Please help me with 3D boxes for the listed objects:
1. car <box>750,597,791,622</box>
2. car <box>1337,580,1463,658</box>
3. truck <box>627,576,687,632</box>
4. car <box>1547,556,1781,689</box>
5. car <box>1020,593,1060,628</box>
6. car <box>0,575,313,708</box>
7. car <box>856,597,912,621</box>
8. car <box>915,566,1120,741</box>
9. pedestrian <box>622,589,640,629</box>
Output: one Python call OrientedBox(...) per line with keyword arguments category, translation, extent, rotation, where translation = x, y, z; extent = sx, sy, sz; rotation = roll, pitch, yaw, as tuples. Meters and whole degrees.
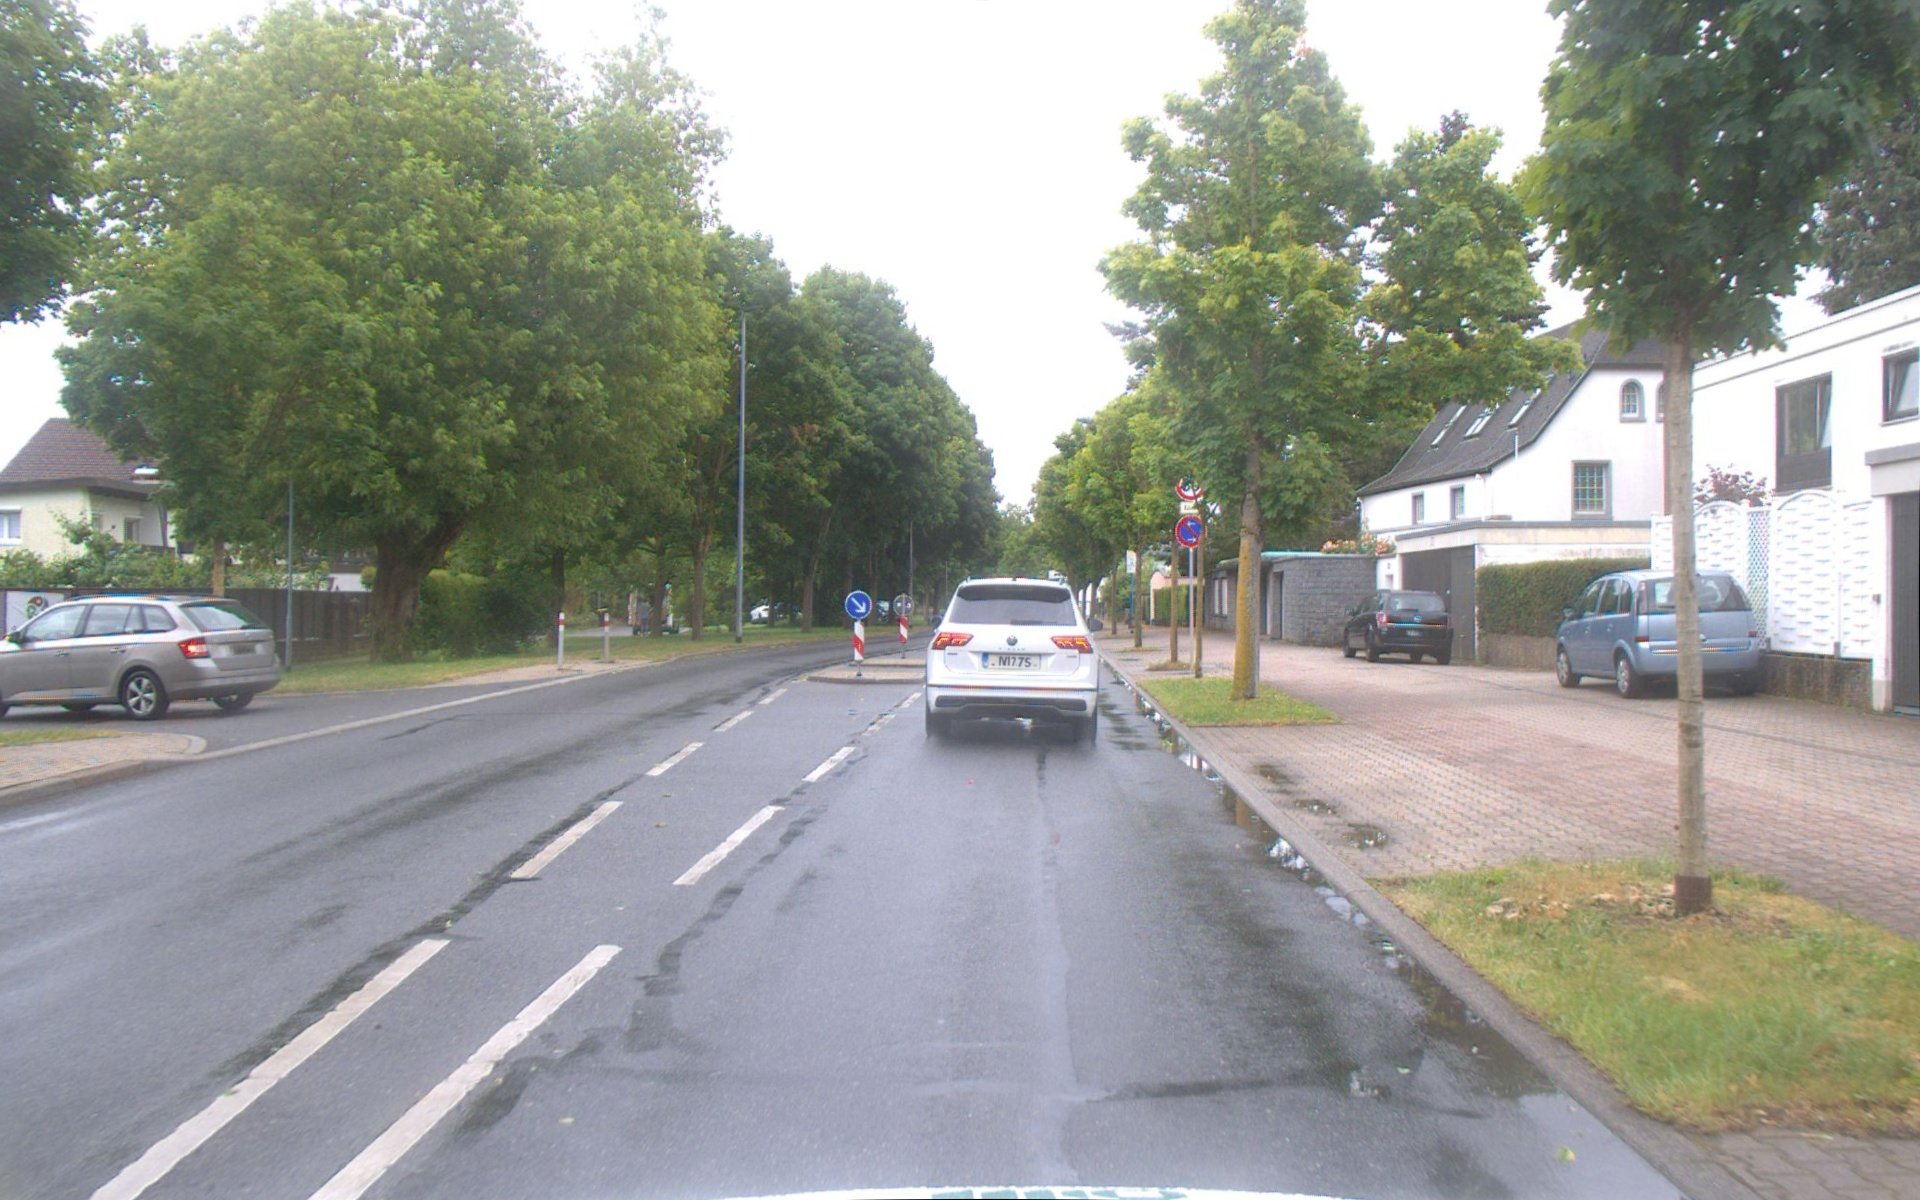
OrientedBox(category="car", translation=(-11.583, 0.574, 100.874), extent=(1.812, 1.508, 3.981), rotation=(0, 0, -17))
OrientedBox(category="car", translation=(9.284, 0.375, 35.231), extent=(1.734, 1.524, 4.546), rotation=(-1, 0, 4))
OrientedBox(category="truck", translation=(-14.999, 0.195, 82.110), extent=(2.239, 2.642, 5.870), rotation=(0, 0, -3))
OrientedBox(category="car", translation=(9.478, 0.281, 22.603), extent=(1.707, 1.639, 4.002), rotation=(-1, 0, 4))
OrientedBox(category="car", translation=(3.819, 0.487, 79.278), extent=(1.802, 1.513, 4.001), rotation=(3, 0, 3))
OrientedBox(category="car", translation=(-10.296, 0.512, 20.481), extent=(3.902, 1.513, 1.848), rotation=(-2, 0, 15))
OrientedBox(category="car", translation=(-4.779, 0.562, 103.109), extent=(1.823, 1.508, 3.957), rotation=(0, 0, -31))
OrientedBox(category="car", translation=(0.582, 0.504, 18.049), extent=(1.956, 1.660, 4.000), rotation=(1, 0, 1))
OrientedBox(category="pedestrian", translation=(-15.637, 0.430, 78.680), extent=(0.695, 1.873, 0.824), rotation=(0, 0, -3))
